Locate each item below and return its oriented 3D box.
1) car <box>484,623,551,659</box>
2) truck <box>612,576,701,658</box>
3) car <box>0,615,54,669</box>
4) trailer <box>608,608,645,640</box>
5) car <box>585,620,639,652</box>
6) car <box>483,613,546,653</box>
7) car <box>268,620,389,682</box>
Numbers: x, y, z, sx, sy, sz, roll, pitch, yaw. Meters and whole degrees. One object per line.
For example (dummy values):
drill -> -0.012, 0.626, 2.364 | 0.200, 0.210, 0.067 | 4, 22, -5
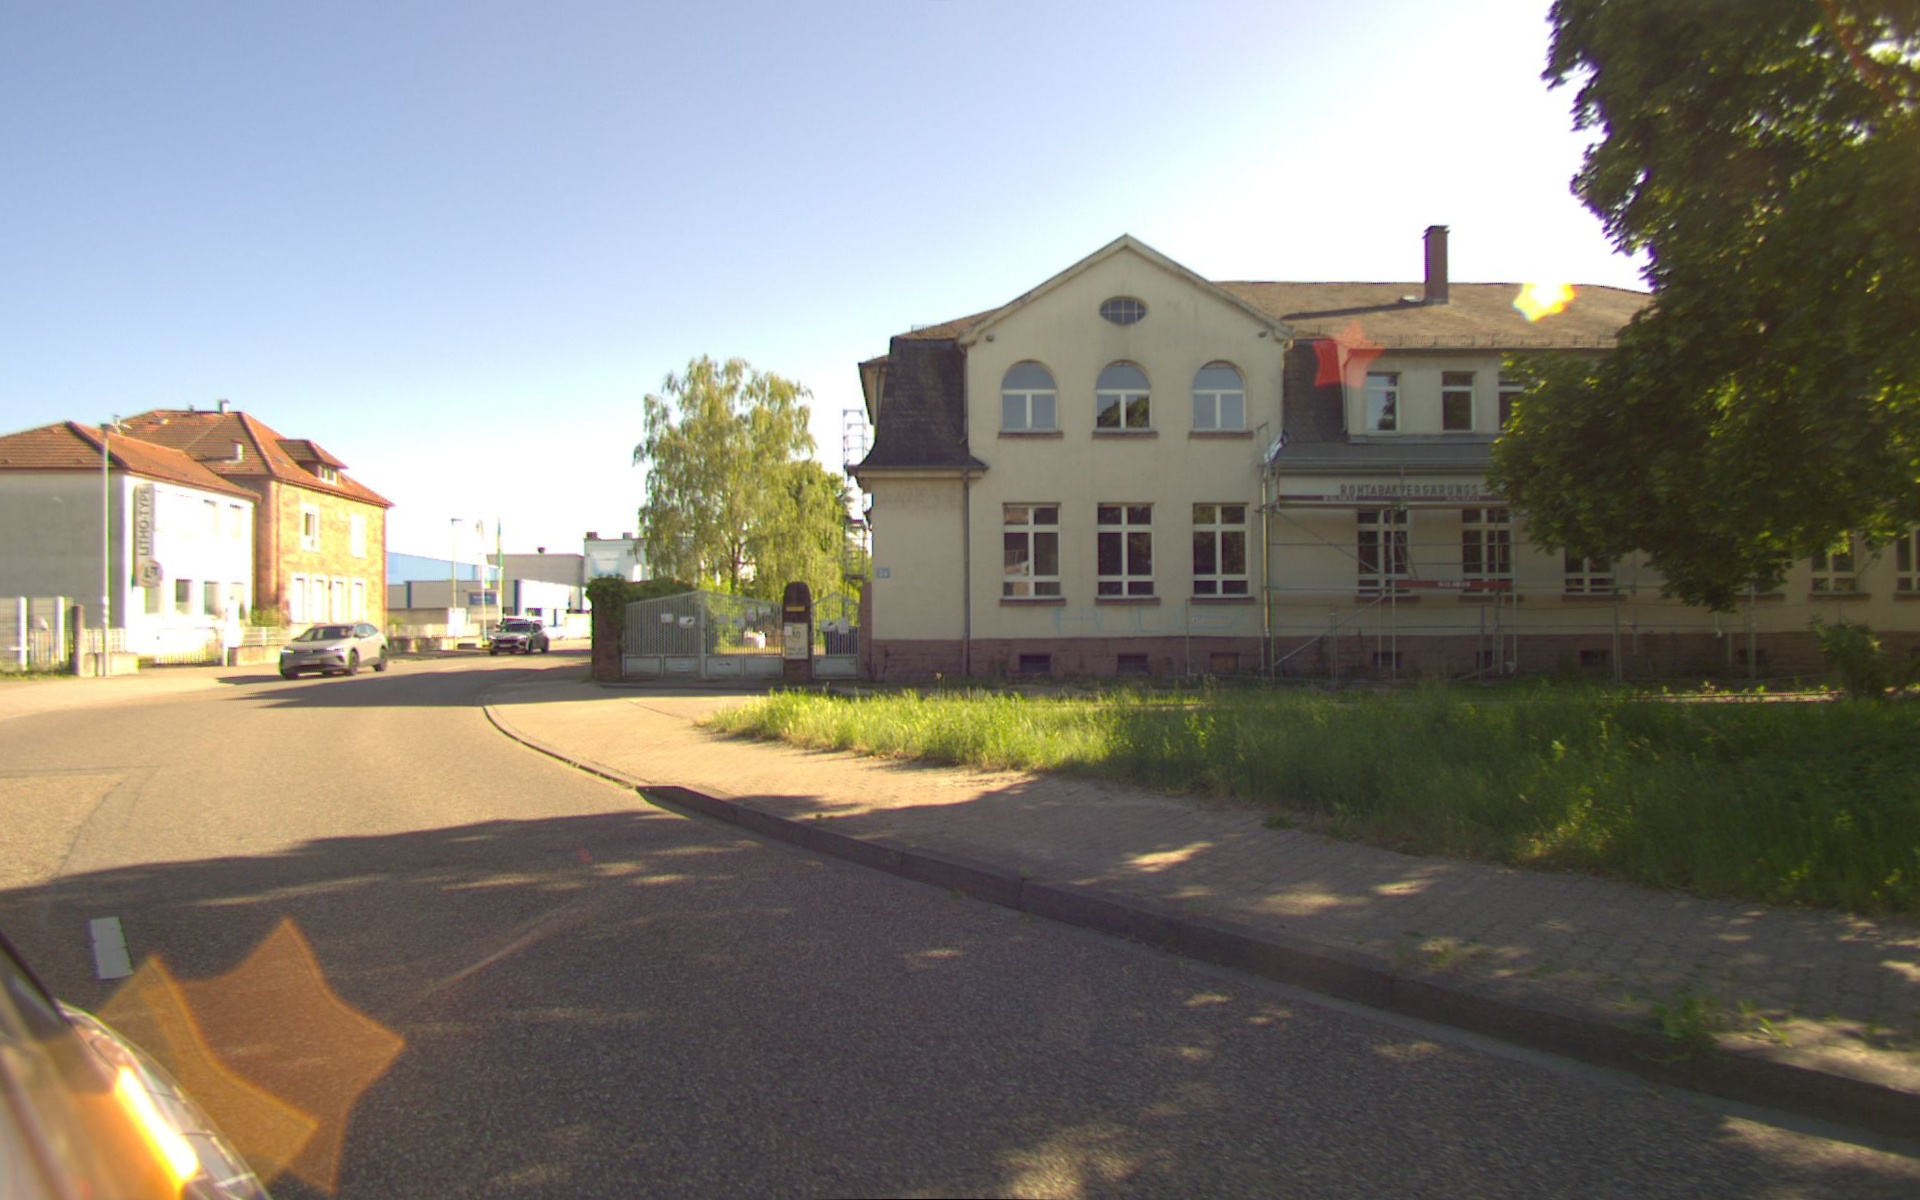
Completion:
car -> -21.012, 1.909, 48.235 | 1.822, 1.643, 4.302 | 0, -1, -8
truck -> -15.529, 0.896, 52.412 | 2.807, 3.646, 8.018 | -5, -1, -7
car -> -32.972, 1.422, 34.907 | 4.362, 1.791, 1.973 | -1, -2, 40
trailer -> -29.064, 2.076, 88.347 | 2.130, 2.738, 4.201 | 0, -1, -5
car -> -19.030, 1.941, 55.487 | 1.968, 1.708, 4.573 | 0, -1, -8
car -> -25.179, 1.851, 57.393 | 1.823, 2.029, 4.720 | -4, -1, -6
car -> -19.145, 1.502, 30.890 | 1.821, 1.643, 4.306 | -3, -1, -14
